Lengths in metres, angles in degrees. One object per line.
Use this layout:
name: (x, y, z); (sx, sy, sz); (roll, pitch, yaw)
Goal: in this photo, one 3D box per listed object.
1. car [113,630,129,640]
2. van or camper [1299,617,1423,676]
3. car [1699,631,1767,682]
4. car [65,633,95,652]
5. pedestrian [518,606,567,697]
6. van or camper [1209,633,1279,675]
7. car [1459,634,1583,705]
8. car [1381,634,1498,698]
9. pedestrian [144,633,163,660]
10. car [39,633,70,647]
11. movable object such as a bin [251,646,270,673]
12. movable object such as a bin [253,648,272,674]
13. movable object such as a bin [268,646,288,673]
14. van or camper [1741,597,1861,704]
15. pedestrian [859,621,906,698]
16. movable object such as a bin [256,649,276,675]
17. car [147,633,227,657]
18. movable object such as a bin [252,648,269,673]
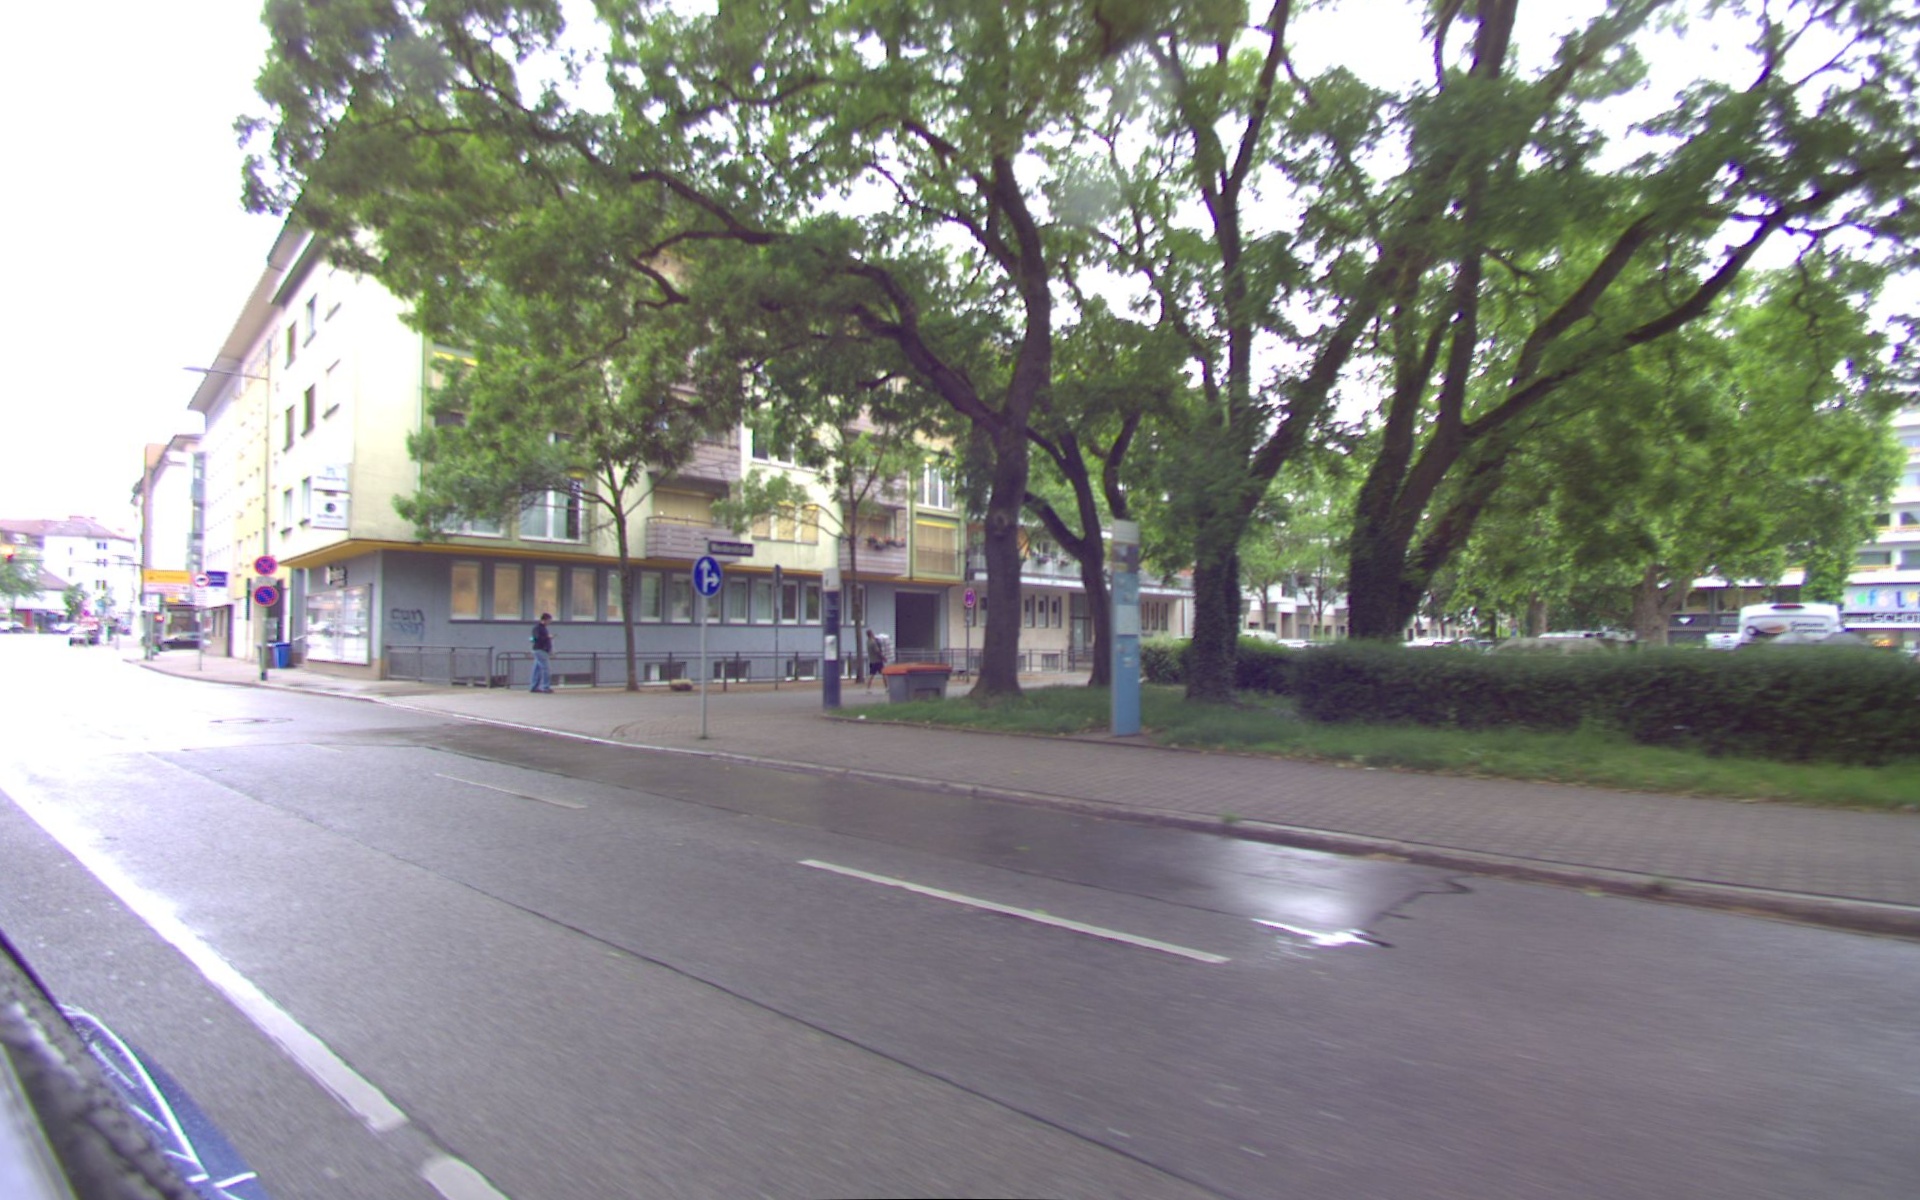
car: (-122.900, 5.111, 148.277); (1.567, 1.539, 3.496); (2, -3, -36)
van or camper: (18.335, 2.086, 45.930); (2.561, 2.420, 8.535); (-2, -3, 41)
car: (29.500, 2.128, 38.583); (1.802, 1.838, 3.946); (-2, -3, 40)
car: (-77.921, 3.715, 89.638); (1.807, 1.634, 4.007); (2, -3, -39)
pedestrian: (-9.553, 1.170, 23.178); (0.771, 2.029, 0.752); (0, -2, 1)
van or camper: (14.623, 2.765, 51.933); (1.825, 2.029, 4.576); (1, -2, 38)
car: (14.237, 1.695, 25.590); (1.863, 1.638, 3.944); (-2, -3, 42)
car: (13.396, 1.777, 28.194); (1.863, 1.638, 3.995); (-2, -3, 42)
pedestrian: (-48.865, 2.818, 61.315); (0.773, 1.600, 0.675); (-1, -1, -28)
car: (-126.021, 5.573, 140.945); (1.722, 1.778, 4.065); (2, -3, -19)
movable object such as a bin: (-27.488, 2.331, 39.776); (0.510, 1.008, 0.524); (-3, 1, -42)
movable object such as a bin: (-26.710, 2.340, 38.762); (0.521, 0.935, 0.426); (-3, 1, -42)
movable object such as a bin: (-25.676, 2.239, 38.119); (0.522, 0.968, 0.435); (-3, 1, -42)
van or camper: (21.190, 1.232, 25.436); (2.099, 2.450, 4.280); (-2, -3, 42)
pedestrian: (-2.014, 1.532, 26.195); (0.906, 1.939, 0.820); (2, -3, -43)
movable object such as a bin: (-26.339, 2.349, 38.407); (0.522, 0.902, 0.435); (-3, 1, -42)
car: (-56.967, 3.312, 74.645); (1.758, 1.580, 4.499); (-2, -1, 44)
movable object such as a bin: (-27.128, 2.334, 39.255); (0.458, 0.935, 0.429); (-3, 1, -42)
